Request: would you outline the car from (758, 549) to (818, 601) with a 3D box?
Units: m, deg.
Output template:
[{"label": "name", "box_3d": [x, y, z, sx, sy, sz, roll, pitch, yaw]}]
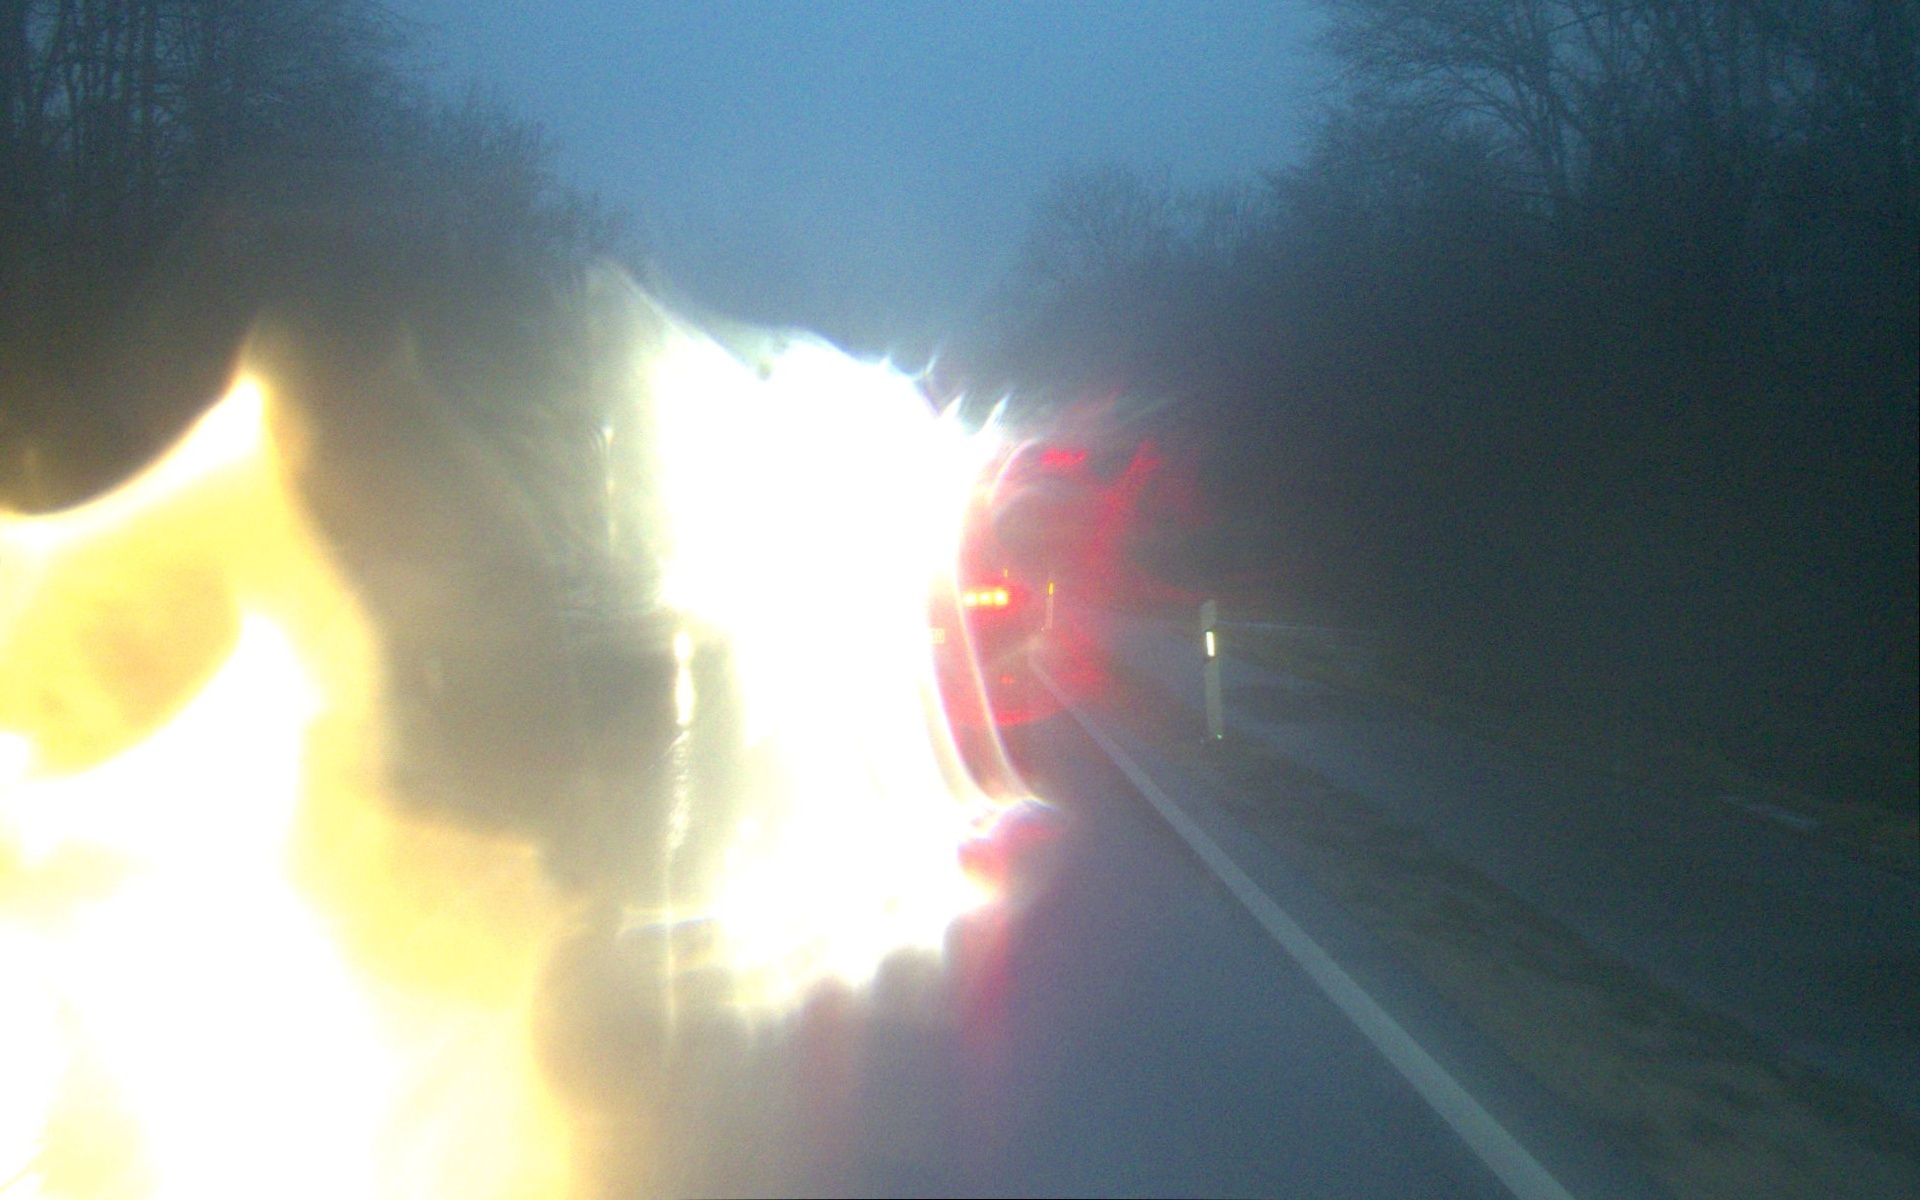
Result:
[{"label": "car", "box_3d": [-5.492, -0.814, 110.166, 1.741, 1.629, 4.000, -1, 1, -1]}]

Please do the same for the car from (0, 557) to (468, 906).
[{"label": "car", "box_3d": [-3.647, 0.550, 17.008, 1.799, 1.456, 4.177, -2, 1, 0]}]

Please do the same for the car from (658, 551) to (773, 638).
[{"label": "car", "box_3d": [-4.455, -0.130, 63.196, 1.764, 1.453, 4.508, -3, 1, -1]}]
